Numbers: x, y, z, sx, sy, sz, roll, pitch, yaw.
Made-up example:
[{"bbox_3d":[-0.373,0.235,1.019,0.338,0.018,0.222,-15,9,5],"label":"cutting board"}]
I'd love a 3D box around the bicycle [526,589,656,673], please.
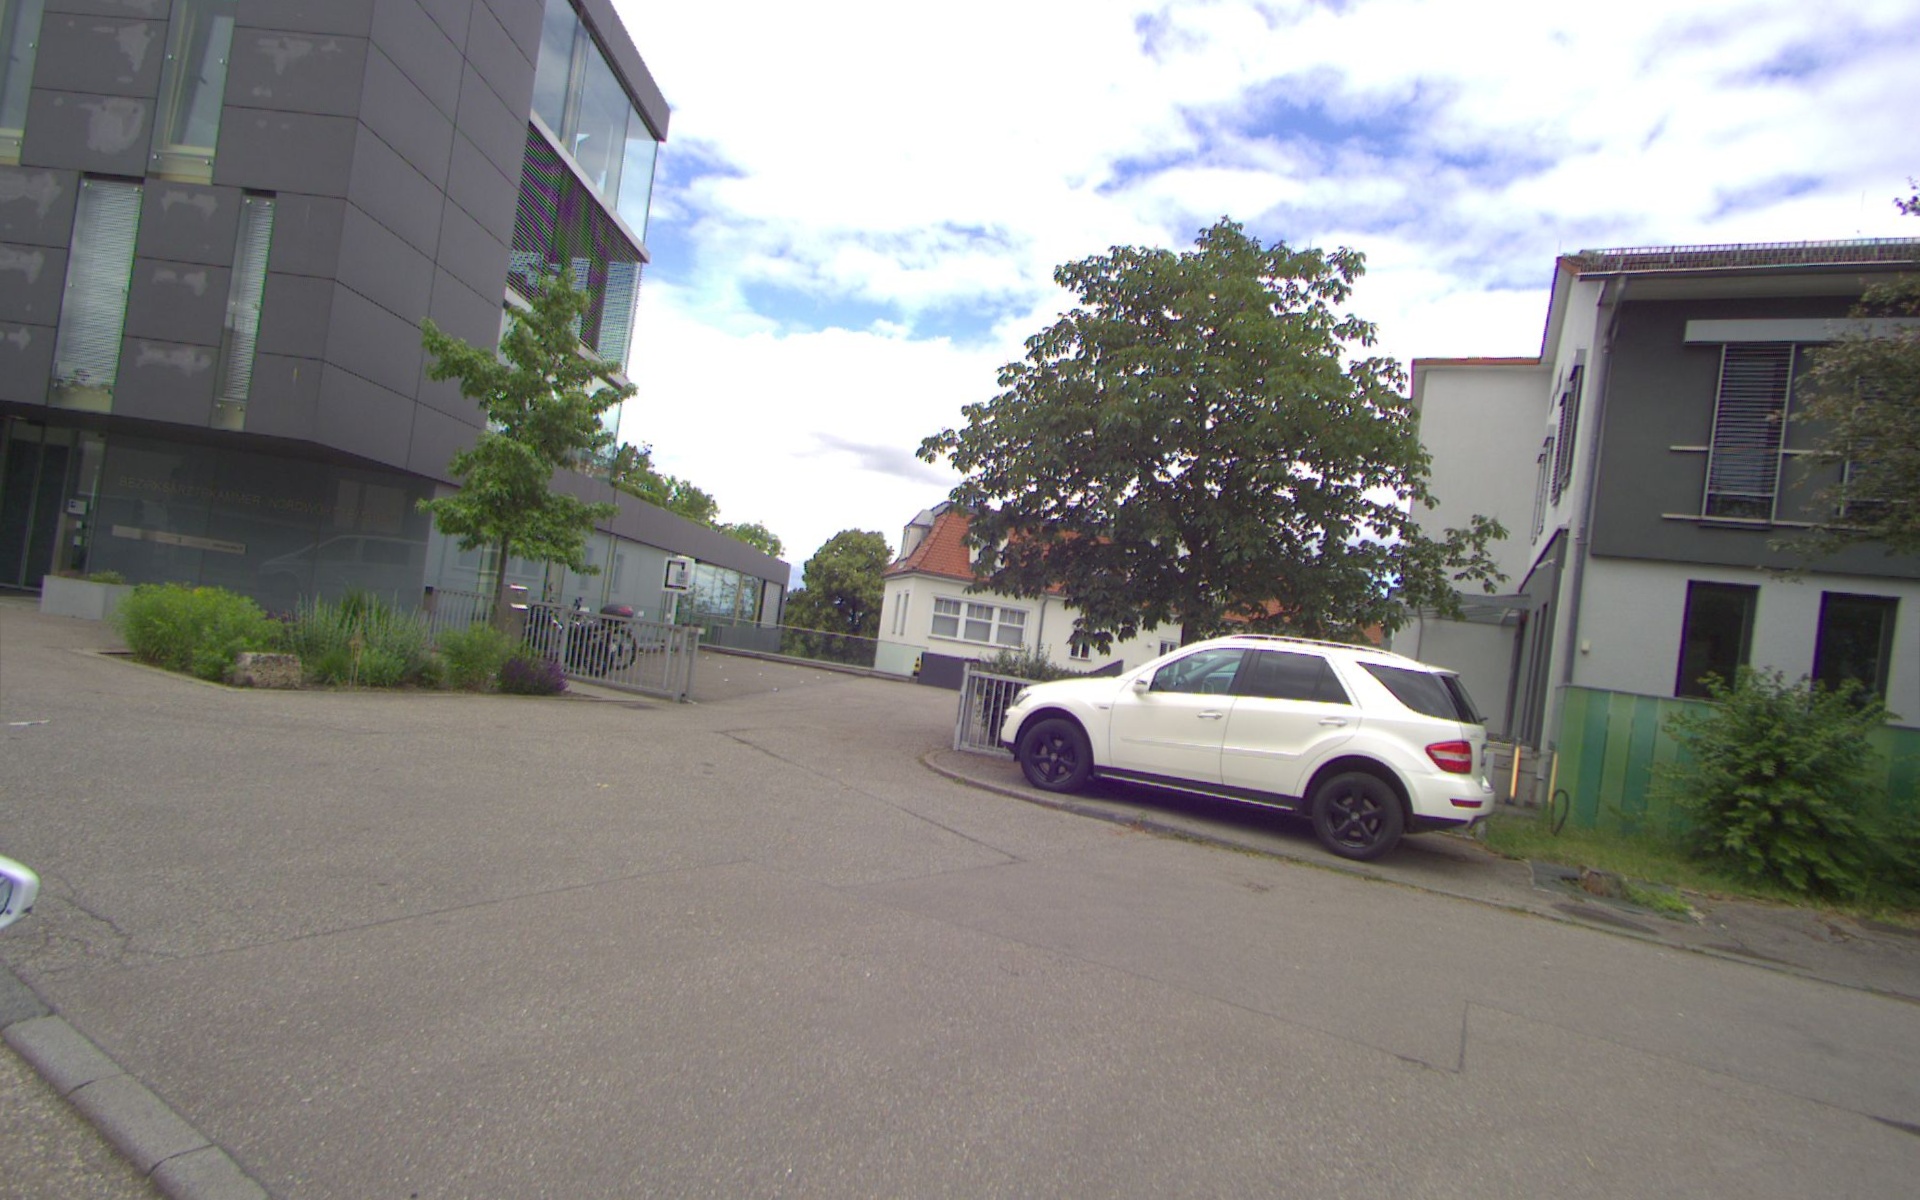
[{"bbox_3d":[-6.884,0.577,18.809,2.063,1.275,0.616,8,-1,5],"label":"bicycle"}]

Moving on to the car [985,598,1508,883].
[{"bbox_3d":[2.747,1.177,9.907,4.442,1.860,1.996,6,-1,31],"label":"car"}]

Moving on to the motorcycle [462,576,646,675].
[{"bbox_3d":[-6.799,0.428,16.910,2.643,1.275,0.850,8,-1,5],"label":"motorcycle"}]
